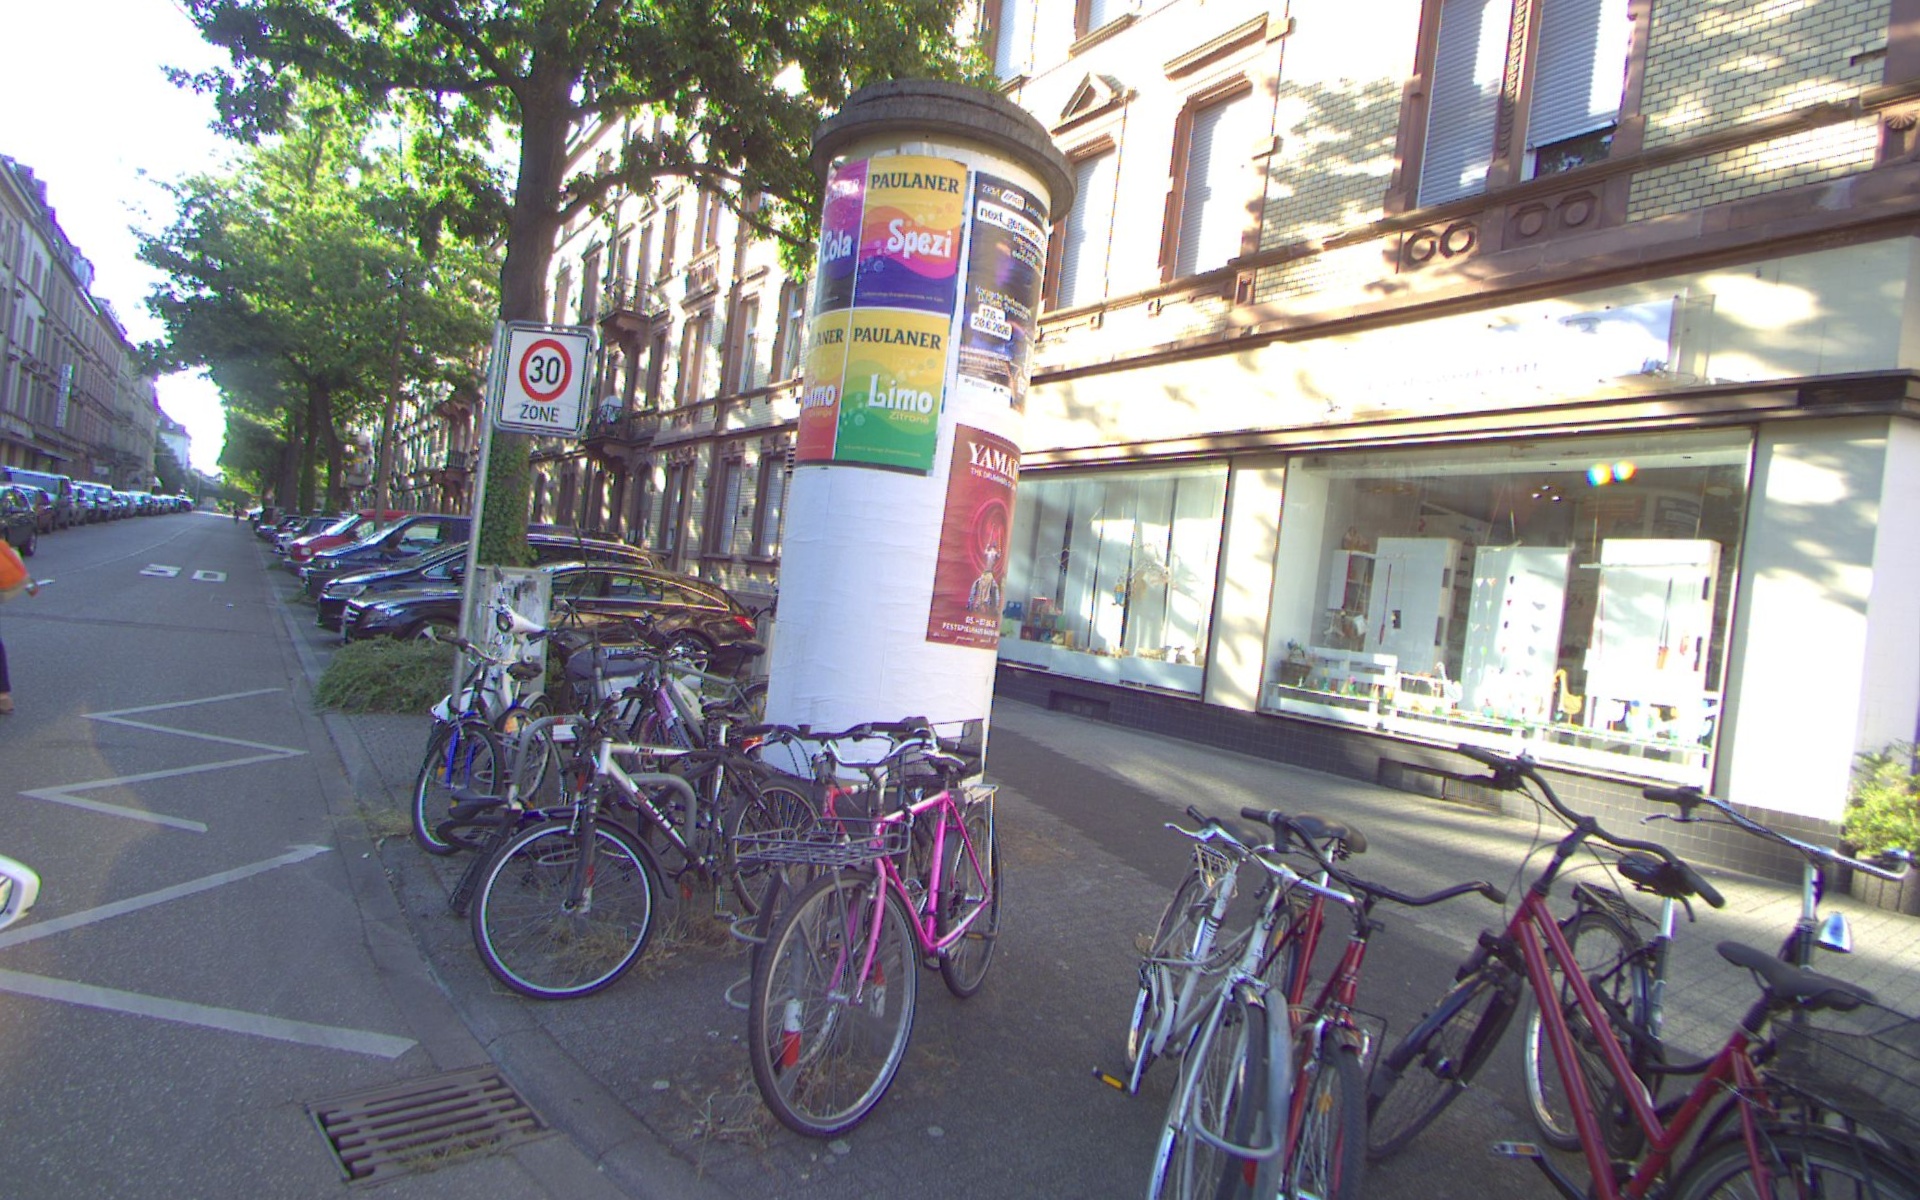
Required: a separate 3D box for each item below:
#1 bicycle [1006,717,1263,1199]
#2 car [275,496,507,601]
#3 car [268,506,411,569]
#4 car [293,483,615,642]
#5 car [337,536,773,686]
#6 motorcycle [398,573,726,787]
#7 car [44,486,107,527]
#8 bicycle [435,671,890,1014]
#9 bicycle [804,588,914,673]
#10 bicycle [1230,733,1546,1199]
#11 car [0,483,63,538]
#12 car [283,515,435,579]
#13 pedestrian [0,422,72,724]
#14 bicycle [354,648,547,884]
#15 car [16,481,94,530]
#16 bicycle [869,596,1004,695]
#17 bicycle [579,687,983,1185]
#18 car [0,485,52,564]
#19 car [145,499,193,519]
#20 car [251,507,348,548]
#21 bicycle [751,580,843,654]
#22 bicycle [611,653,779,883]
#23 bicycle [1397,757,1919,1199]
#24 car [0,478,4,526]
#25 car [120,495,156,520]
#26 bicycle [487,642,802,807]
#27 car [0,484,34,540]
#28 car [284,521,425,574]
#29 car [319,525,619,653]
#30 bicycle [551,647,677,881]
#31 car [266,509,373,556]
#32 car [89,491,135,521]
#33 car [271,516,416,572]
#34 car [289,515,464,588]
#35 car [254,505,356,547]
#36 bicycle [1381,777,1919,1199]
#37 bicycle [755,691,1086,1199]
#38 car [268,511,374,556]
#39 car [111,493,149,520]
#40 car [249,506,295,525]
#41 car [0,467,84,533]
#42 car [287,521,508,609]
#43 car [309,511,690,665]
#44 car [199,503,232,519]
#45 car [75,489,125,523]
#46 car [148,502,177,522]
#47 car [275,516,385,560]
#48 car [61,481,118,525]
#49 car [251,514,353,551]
[{"bbox_3d":[0.550,1.002,2.815,0.417,1.108,1.935,5,1,15],"label":"bicycle"},{"bbox_3d":[-13.895,-1.203,24.717,4.650,2.060,1.858,5,1,-39],"label":"car"},{"bbox_3d":[-23.775,-2.383,38.626,4.418,1.951,1.829,4,4,-39],"label":"car"},{"bbox_3d":[-9.391,-0.618,18.898,4.995,2.242,1.972,7,0,-37],"label":"car"},{"bbox_3d":[-4.978,0.182,12.660,4.753,1.431,1.834,5,1,-34],"label":"car"},{"bbox_3d":[-2.648,0.530,6.794,1.885,1.250,0.679,4,2,-36],"label":"motorcycle"},{"bbox_3d":[-41.039,-4.346,46.744,1.751,1.484,3.958,9,-1,-37],"label":"car"},{"bbox_3d":[-1.085,0.851,4.186,0.488,1.001,1.930,5,1,32],"label":"bicycle"},{"bbox_3d":[-1.764,0.474,17.009,0.665,1.187,2.569,4,2,-33],"label":"bicycle"},{"bbox_3d":[0.984,1.044,2.686,0.417,1.108,1.935,5,1,15],"label":"bicycle"},{"bbox_3d":[-30.344,-2.905,32.372,1.583,1.492,3.665,9,-1,-34],"label":"car"},{"bbox_3d":[-19.509,-1.694,32.725,3.987,1.649,1.786,5,1,-38],"label":"car"},{"bbox_3d":[-6.676,-0.232,6.559,1.108,1.922,0.834,6,1,-36],"label":"pedestrian"},{"bbox_3d":[-2.544,0.772,5.152,0.348,0.940,1.411,4,1,-6],"label":"bicycle"},{"bbox_3d":[-37.183,-3.874,41.423,1.745,1.627,4.340,9,-1,-36],"label":"car"},{"bbox_3d":[-0.408,0.627,14.792,0.665,1.187,2.569,4,2,-33],"label":"bicycle"},{"bbox_3d":[-0.457,0.930,3.506,0.493,1.066,1.935,5,1,17],"label":"bicycle"},{"bbox_3d":[-20.510,-1.678,20.865,1.746,1.520,4.024,6,1,-33],"label":"car"},{"bbox_3d":[-83.994,-9.641,106.912,1.964,1.504,3.999,6,-1,-4],"label":"car"},{"bbox_3d":[-37.571,-4.123,57.305,1.806,1.818,4.219,7,2,34],"label":"car"},{"bbox_3d":[-3.146,0.287,19.129,0.665,1.187,2.569,4,2,-33],"label":"bicycle"},{"bbox_3d":[-1.485,0.835,5.461,0.351,0.940,1.511,3,2,-34],"label":"bicycle"},{"bbox_3d":[1.939,1.142,2.868,0.564,1.108,1.475,4,1,-4],"label":"bicycle"},{"bbox_3d":[-17.653,-1.412,16.567,1.745,1.620,4.511,6,1,-32],"label":"car"},{"bbox_3d":[-59.103,-6.636,72.417,1.749,1.491,4.017,6,1,-37],"label":"car"},{"bbox_3d":[-1.996,0.783,6.578,1.918,0.940,0.351,4,2,-37],"label":"bicycle"},{"bbox_3d":[-27.940,-2.596,28.540,1.747,1.520,4.022,6,1,-34],"label":"car"},{"bbox_3d":[-20.881,-1.794,34.730,3.985,1.453,1.776,4,2,-37],"label":"car"},{"bbox_3d":[-7.970,-0.143,16.479,4.082,1.553,1.708,7,0,-36],"label":"car"},{"bbox_3d":[-1.871,0.791,5.330,0.350,0.940,1.514,3,2,-28],"label":"bicycle"},{"bbox_3d":[-31.127,-3.282,48.915,4.196,1.800,1.816,5,2,-38],"label":"car"},{"bbox_3d":[-50.125,-5.551,59.535,1.749,1.491,4.017,6,1,-37],"label":"car"},{"bbox_3d":[-22.365,-2.023,36.541,4.317,1.578,1.830,4,4,-37],"label":"car"},{"bbox_3d":[-16.683,-1.370,28.853,4.156,1.649,1.821,5,1,-33],"label":"car"},{"bbox_3d":[-39.379,-4.458,60.547,5.025,1.951,1.816,5,2,-37],"label":"car"},{"bbox_3d":[1.514,1.078,2.123,0.417,1.108,1.475,4,1,-6],"label":"bicycle"},{"bbox_3d":[0.005,0.950,3.378,0.417,1.108,1.935,5,1,17],"label":"bicycle"},{"bbox_3d":[-29.575,-3.041,46.594,3.986,1.628,1.716,5,1,-37],"label":"car"},{"bbox_3d":[-56.476,-6.372,68.493,1.749,1.491,4.017,6,1,-37],"label":"car"},{"bbox_3d":[-72.658,-8.927,106.236,3.827,1.594,1.700,5,2,-37],"label":"car"},{"bbox_3d":[-33.656,-3.638,36.731,1.823,1.966,5.207,9,-1,-36],"label":"car"},{"bbox_3d":[-12.481,-0.760,22.409,4.029,1.530,1.860,5,1,-37],"label":"car"},{"bbox_3d":[-6.518,-0.120,14.512,4.650,1.700,1.836,5,1,-31],"label":"car"},{"bbox_3d":[-121.314,-14.525,163.867,3.955,1.882,1.738,8,0,-29],"label":"car"},{"bbox_3d":[-46.638,-5.100,54.622,1.749,1.491,4.017,6,1,-37],"label":"car"},{"bbox_3d":[-78.090,-8.601,98.500,1.983,1.504,3.961,6,-1,-37],"label":"car"},{"bbox_3d":[-28.015,-2.743,44.807,3.986,1.487,1.716,5,1,-37],"label":"car"},{"bbox_3d":[-43.705,-4.873,50.572,1.749,1.865,4.482,6,1,-37],"label":"car"},{"bbox_3d":[-34.448,-3.519,52.713,4.201,1.422,1.814,4,2,-41],"label":"car"}]
